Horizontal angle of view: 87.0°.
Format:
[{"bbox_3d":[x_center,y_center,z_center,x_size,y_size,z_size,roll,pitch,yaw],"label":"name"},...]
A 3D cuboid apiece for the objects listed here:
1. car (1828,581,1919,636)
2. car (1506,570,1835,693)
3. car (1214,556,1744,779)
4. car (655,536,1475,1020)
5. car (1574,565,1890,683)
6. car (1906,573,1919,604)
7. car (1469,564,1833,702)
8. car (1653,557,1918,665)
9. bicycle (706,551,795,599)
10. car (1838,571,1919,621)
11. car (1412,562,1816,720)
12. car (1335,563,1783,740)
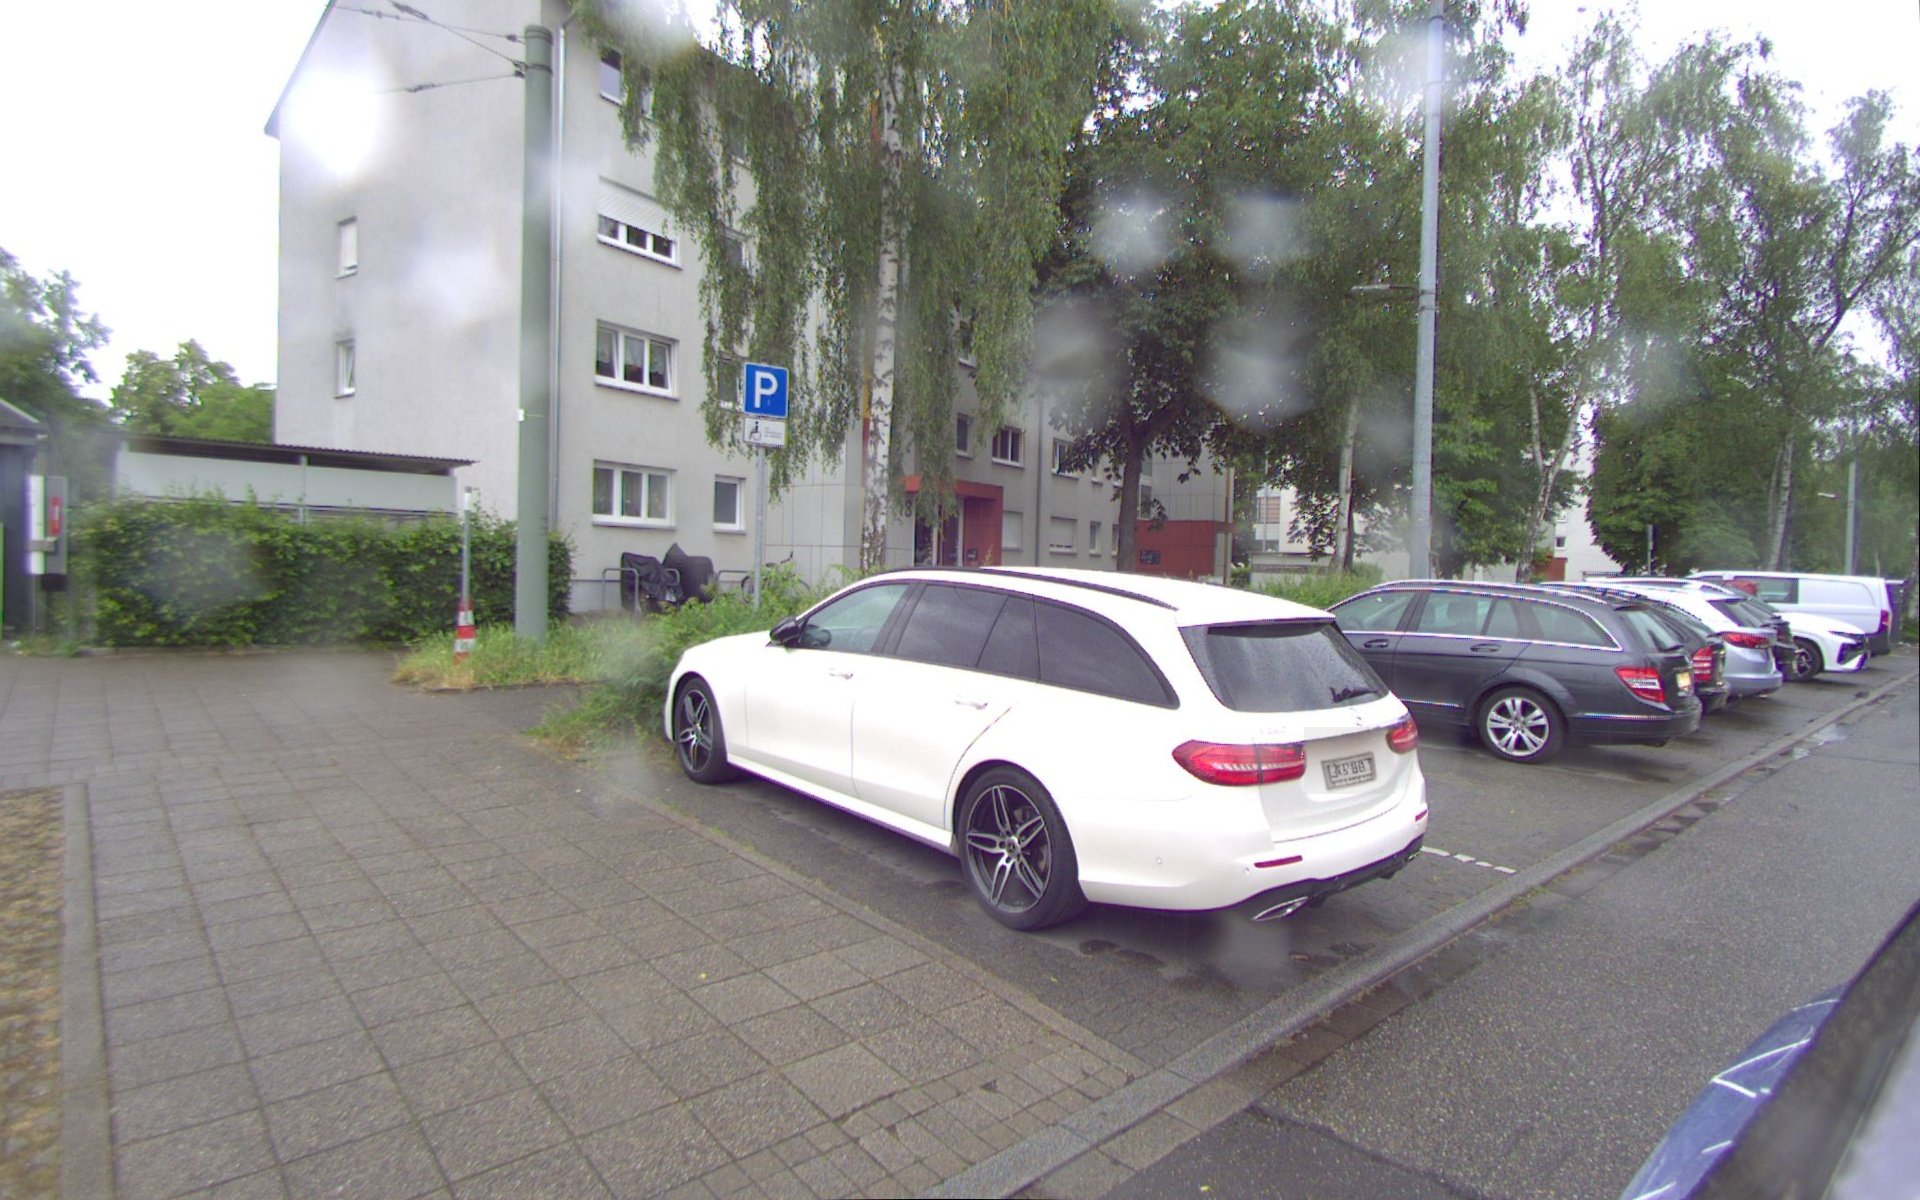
[{"bbox_3d":[34.430,0.280,36.817,1.866,1.937,3.998,-1,1,-36],"label":"car"},{"bbox_3d":[11.340,0.395,16.365,1.653,1.514,4.044,-1,5,-43],"label":"car"},{"bbox_3d":[4.611,0.423,9.470,1.653,1.456,4.044,-1,5,-43],"label":"car"},{"bbox_3d":[0.079,0.475,5.615,1.651,1.456,4.622,-1,5,-41],"label":"car"},{"bbox_3d":[13.692,0.320,18.181,1.651,1.637,4.181,0,5,-40],"label":"car"},{"bbox_3d":[53.219,-0.617,53.814,1.866,1.701,3.998,-1,1,-36],"label":"car"},{"bbox_3d":[9.865,0.352,14.692,1.653,1.514,4.044,-1,5,-43],"label":"car"},{"bbox_3d":[17.548,0.139,21.667,4.172,1.888,1.654,6,5,43],"label":"car"},{"bbox_3d":[-4.525,-0.531,21.976,0.701,1.005,1.918,0,0,37],"label":"bicycle"},{"bbox_3d":[37.767,-0.163,40.244,1.866,1.937,3.998,-1,1,-36],"label":"car"},{"bbox_3d":[8.248,0.381,13.056,1.653,1.514,4.044,-1,5,-43],"label":"car"},{"bbox_3d":[6.632,0.418,11.549,1.653,1.456,4.044,-1,5,-43],"label":"car"}]
